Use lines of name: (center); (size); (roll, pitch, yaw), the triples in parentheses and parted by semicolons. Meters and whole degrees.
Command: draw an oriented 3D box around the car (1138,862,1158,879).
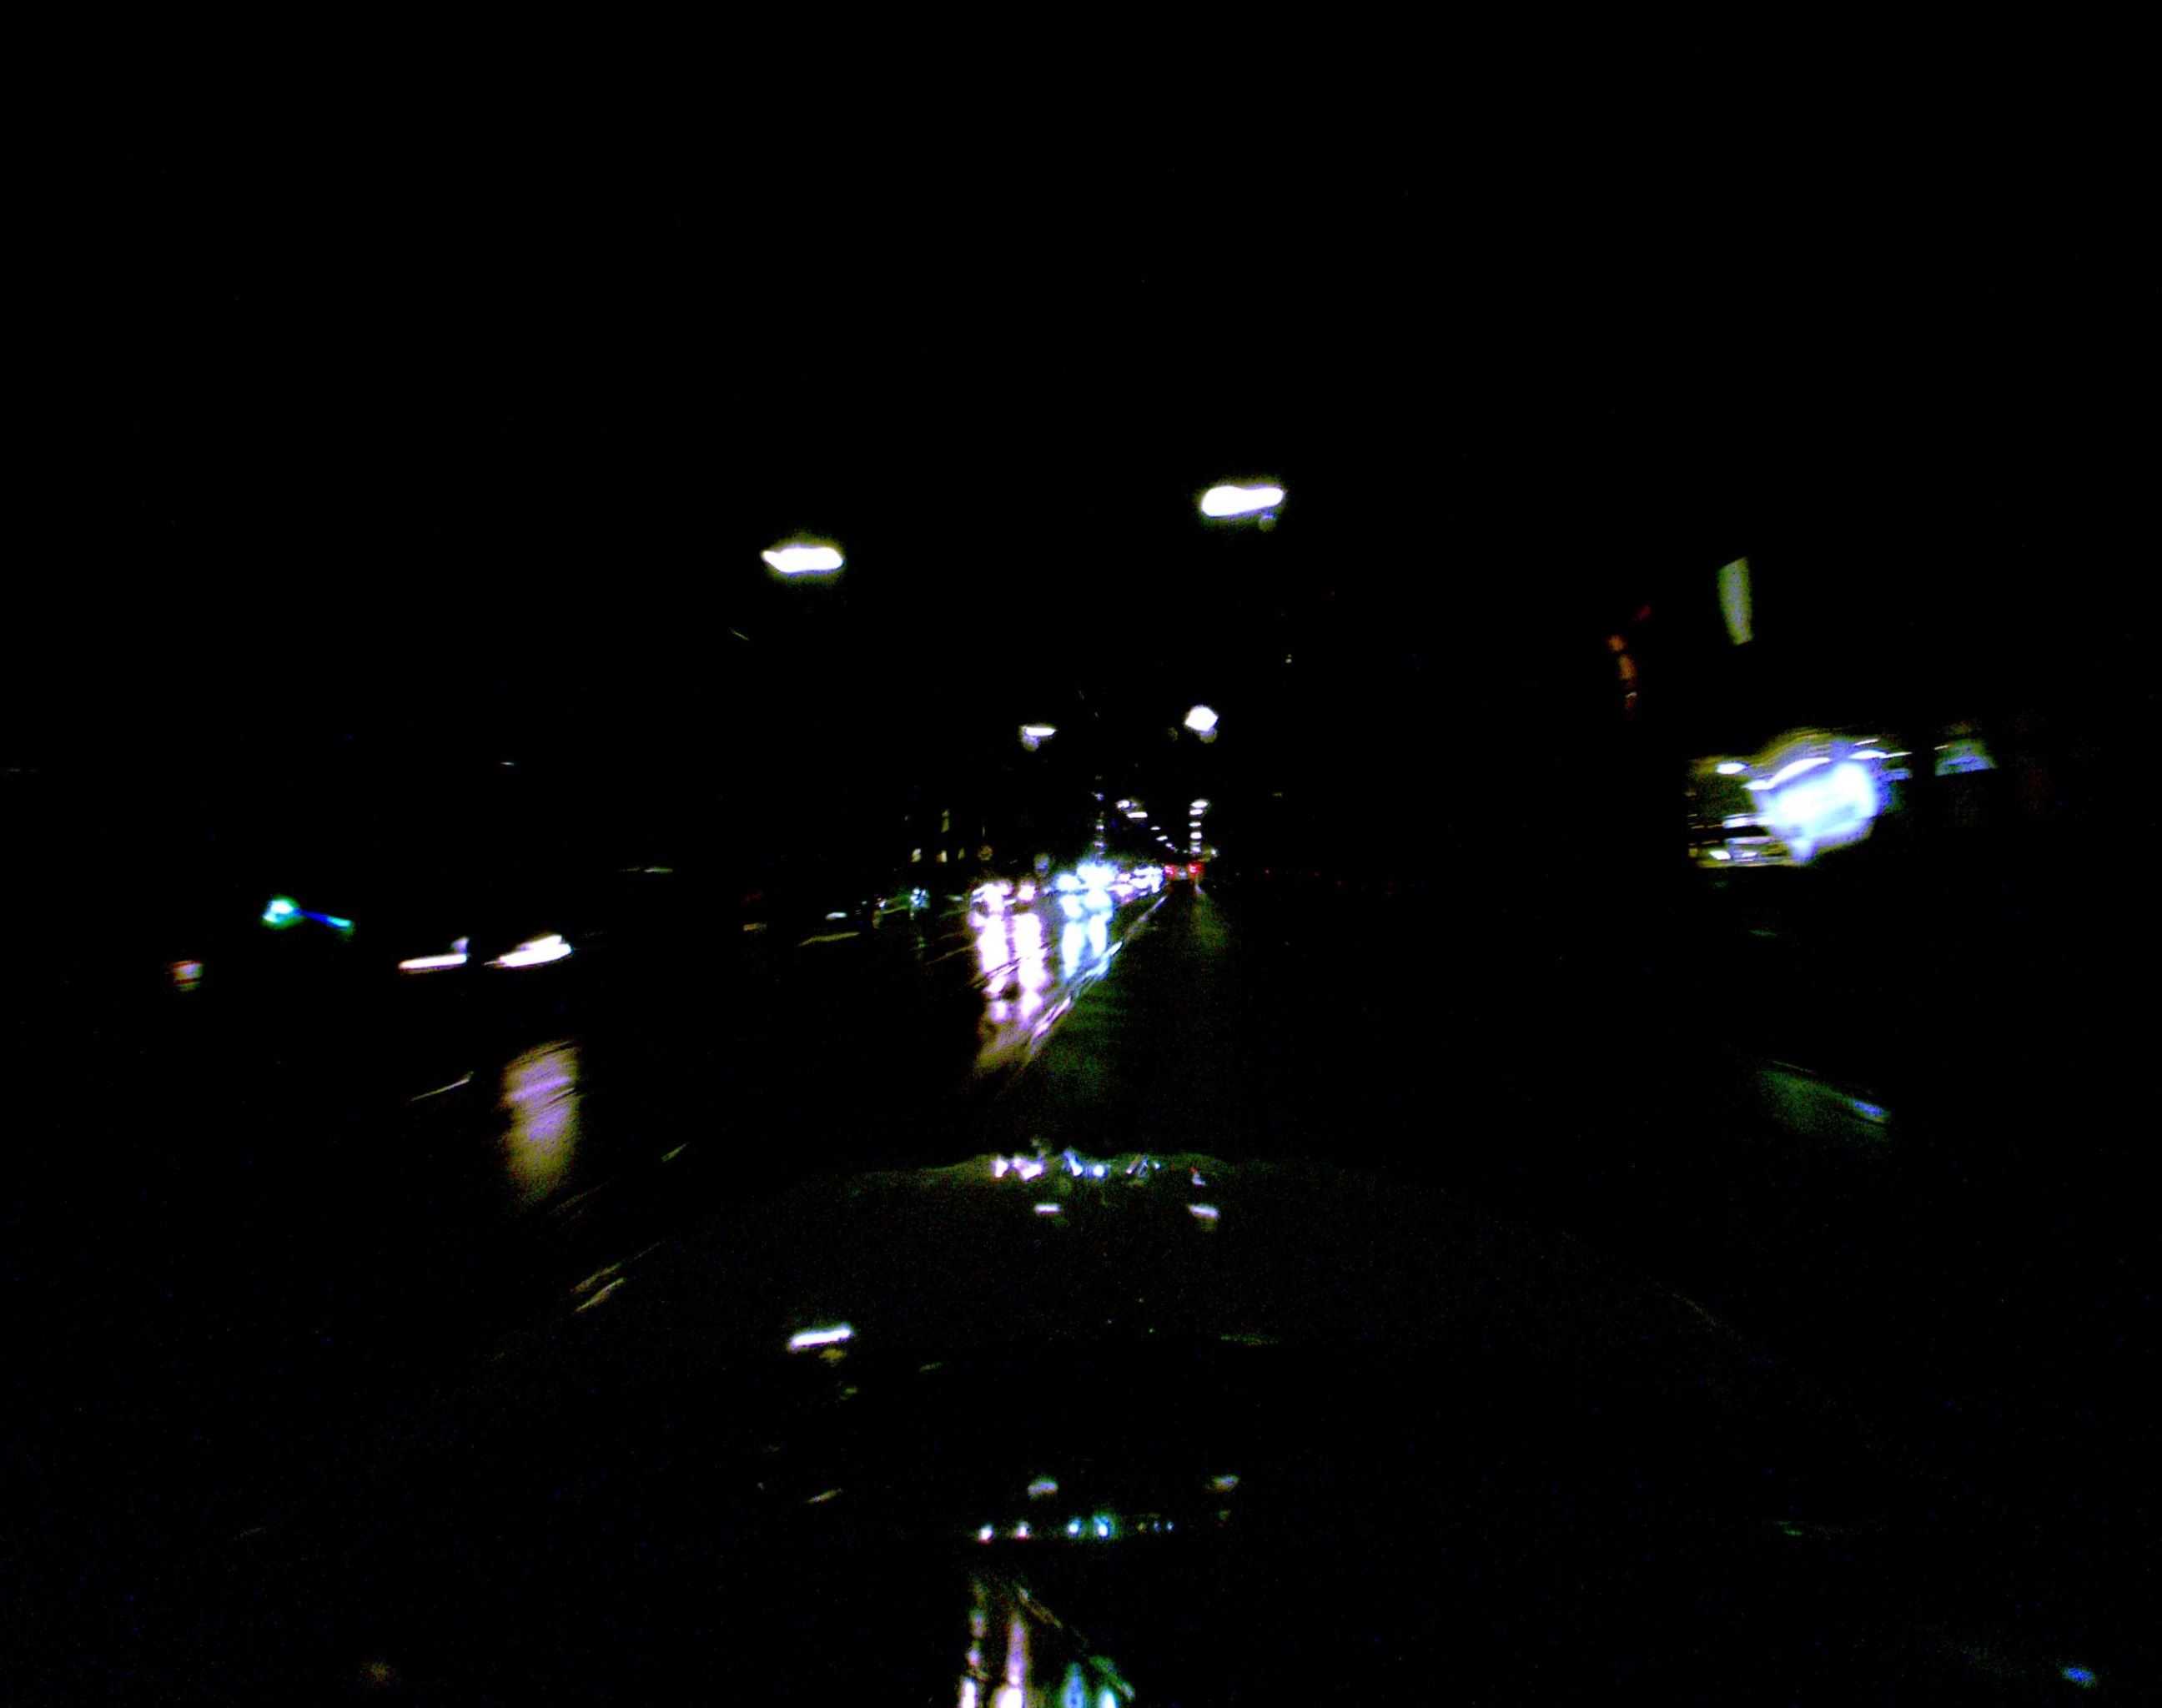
car: (8.130, 1.947, 98.190); (1.927, 1.816, 4.395); (-4, -1, 9)

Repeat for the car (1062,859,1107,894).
car: (0.298, 1.291, 48.911); (1.915, 1.879, 4.648); (-4, -1, 8)

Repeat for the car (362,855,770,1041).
car: (-6.308, 1.041, 10.781); (1.883, 1.869, 4.549); (-4, -2, 11)

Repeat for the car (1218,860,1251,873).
car: (18.666, 1.547, 98.997); (3.904, 1.534, 1.802); (-1, -1, -34)

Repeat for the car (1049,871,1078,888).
car: (-1.374, 2.065, 66.031); (1.658, 1.387, 4.010); (0, -2, 9)

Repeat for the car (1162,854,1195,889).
car: (7.174, 1.296, 60.266); (2.205, 2.442, 5.393); (-2, -1, 6)

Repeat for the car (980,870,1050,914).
car: (-2.452, 1.410, 31.300); (1.782, 1.464, 3.910); (-3, -1, 8)

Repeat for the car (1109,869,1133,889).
car: (3.404, 2.104, 68.949); (1.643, 1.479, 4.212); (-4, -1, 6)

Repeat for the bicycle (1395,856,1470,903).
bicycle: (10.028, 0.733, 23.271); (1.805, 1.164, 0.493); (-5, -2, 5)

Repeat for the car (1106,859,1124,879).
car: (4.420, 1.912, 105.993); (2.015, 2.499, 5.616); (0, -1, 5)

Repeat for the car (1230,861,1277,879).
car: (14.696, 1.366, 69.349); (3.805, 1.458, 1.751); (0, -1, -35)

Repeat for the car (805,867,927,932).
car: (-6.886, 1.377, 26.771); (1.983, 1.826, 5.320); (0, 0, 7)

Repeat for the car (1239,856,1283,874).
car: (18.194, 1.095, 82.194); (4.190, 1.839, 1.942); (0, -1, -34)

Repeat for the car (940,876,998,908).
car: (-5.199, 1.746, 38.316); (1.757, 1.407, 4.148); (0, -1, 6)
